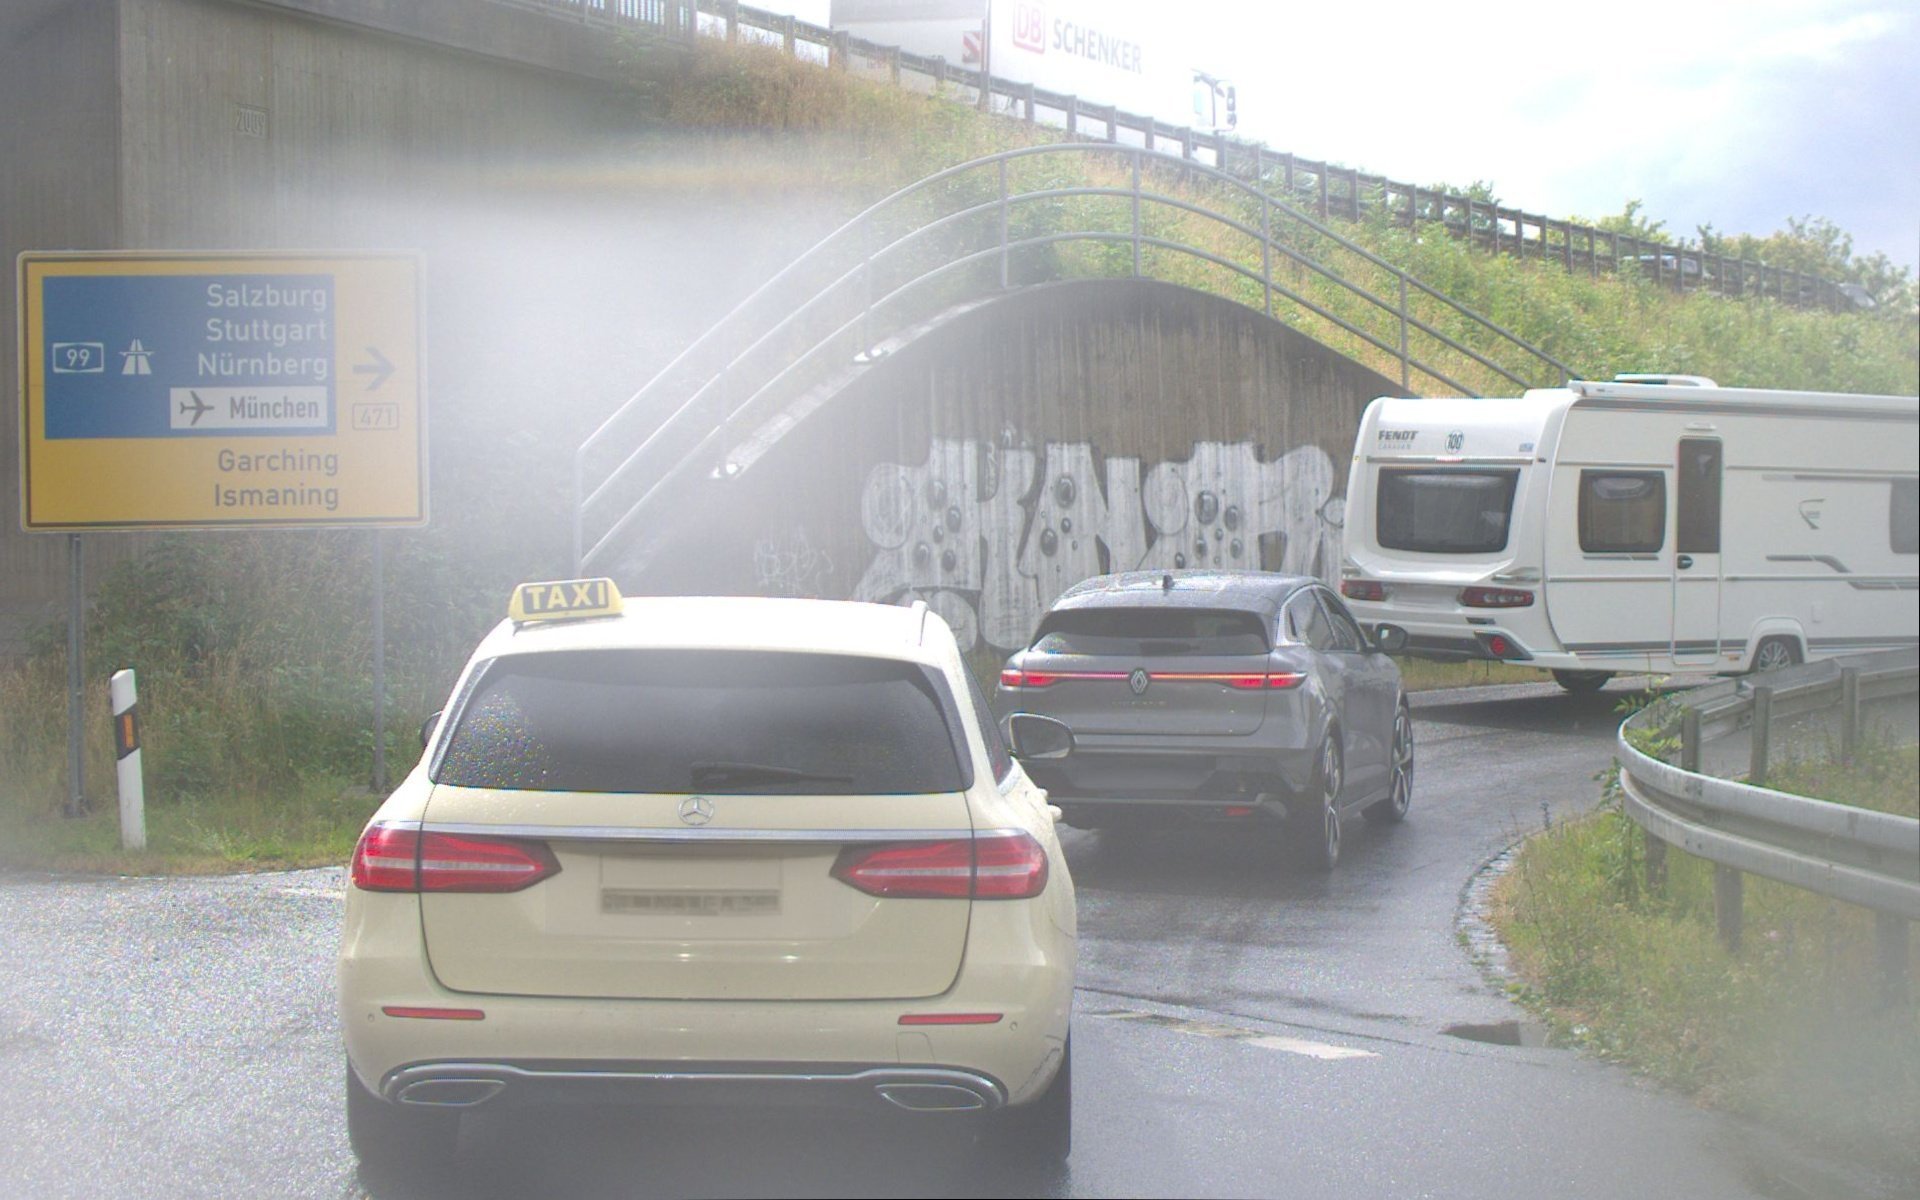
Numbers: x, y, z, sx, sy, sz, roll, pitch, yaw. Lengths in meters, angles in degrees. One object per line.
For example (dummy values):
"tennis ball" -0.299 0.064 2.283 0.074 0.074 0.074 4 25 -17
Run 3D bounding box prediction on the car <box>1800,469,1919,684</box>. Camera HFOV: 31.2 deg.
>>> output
"car" 10.908 -0.297 32.653 5.742 1.919 2.436 -2 3 -34

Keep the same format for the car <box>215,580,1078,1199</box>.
"car" -0.624 0.699 9.942 1.916 1.502 4.596 0 0 2

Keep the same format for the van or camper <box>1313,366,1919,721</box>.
"van or camper" 5.995 -0.552 29.105 5.983 2.720 2.438 -2 3 -38

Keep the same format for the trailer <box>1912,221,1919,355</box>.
"trailer" 35.926 -9.227 108.856 4.422 3.942 20.177 1 1 36

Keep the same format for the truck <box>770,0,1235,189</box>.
"truck" 0.871 -8.650 51.240 3.185 3.952 9.223 1 1 27

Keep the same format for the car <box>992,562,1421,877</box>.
"car" 1.455 0.572 18.752 1.719 1.520 3.998 0 0 13
